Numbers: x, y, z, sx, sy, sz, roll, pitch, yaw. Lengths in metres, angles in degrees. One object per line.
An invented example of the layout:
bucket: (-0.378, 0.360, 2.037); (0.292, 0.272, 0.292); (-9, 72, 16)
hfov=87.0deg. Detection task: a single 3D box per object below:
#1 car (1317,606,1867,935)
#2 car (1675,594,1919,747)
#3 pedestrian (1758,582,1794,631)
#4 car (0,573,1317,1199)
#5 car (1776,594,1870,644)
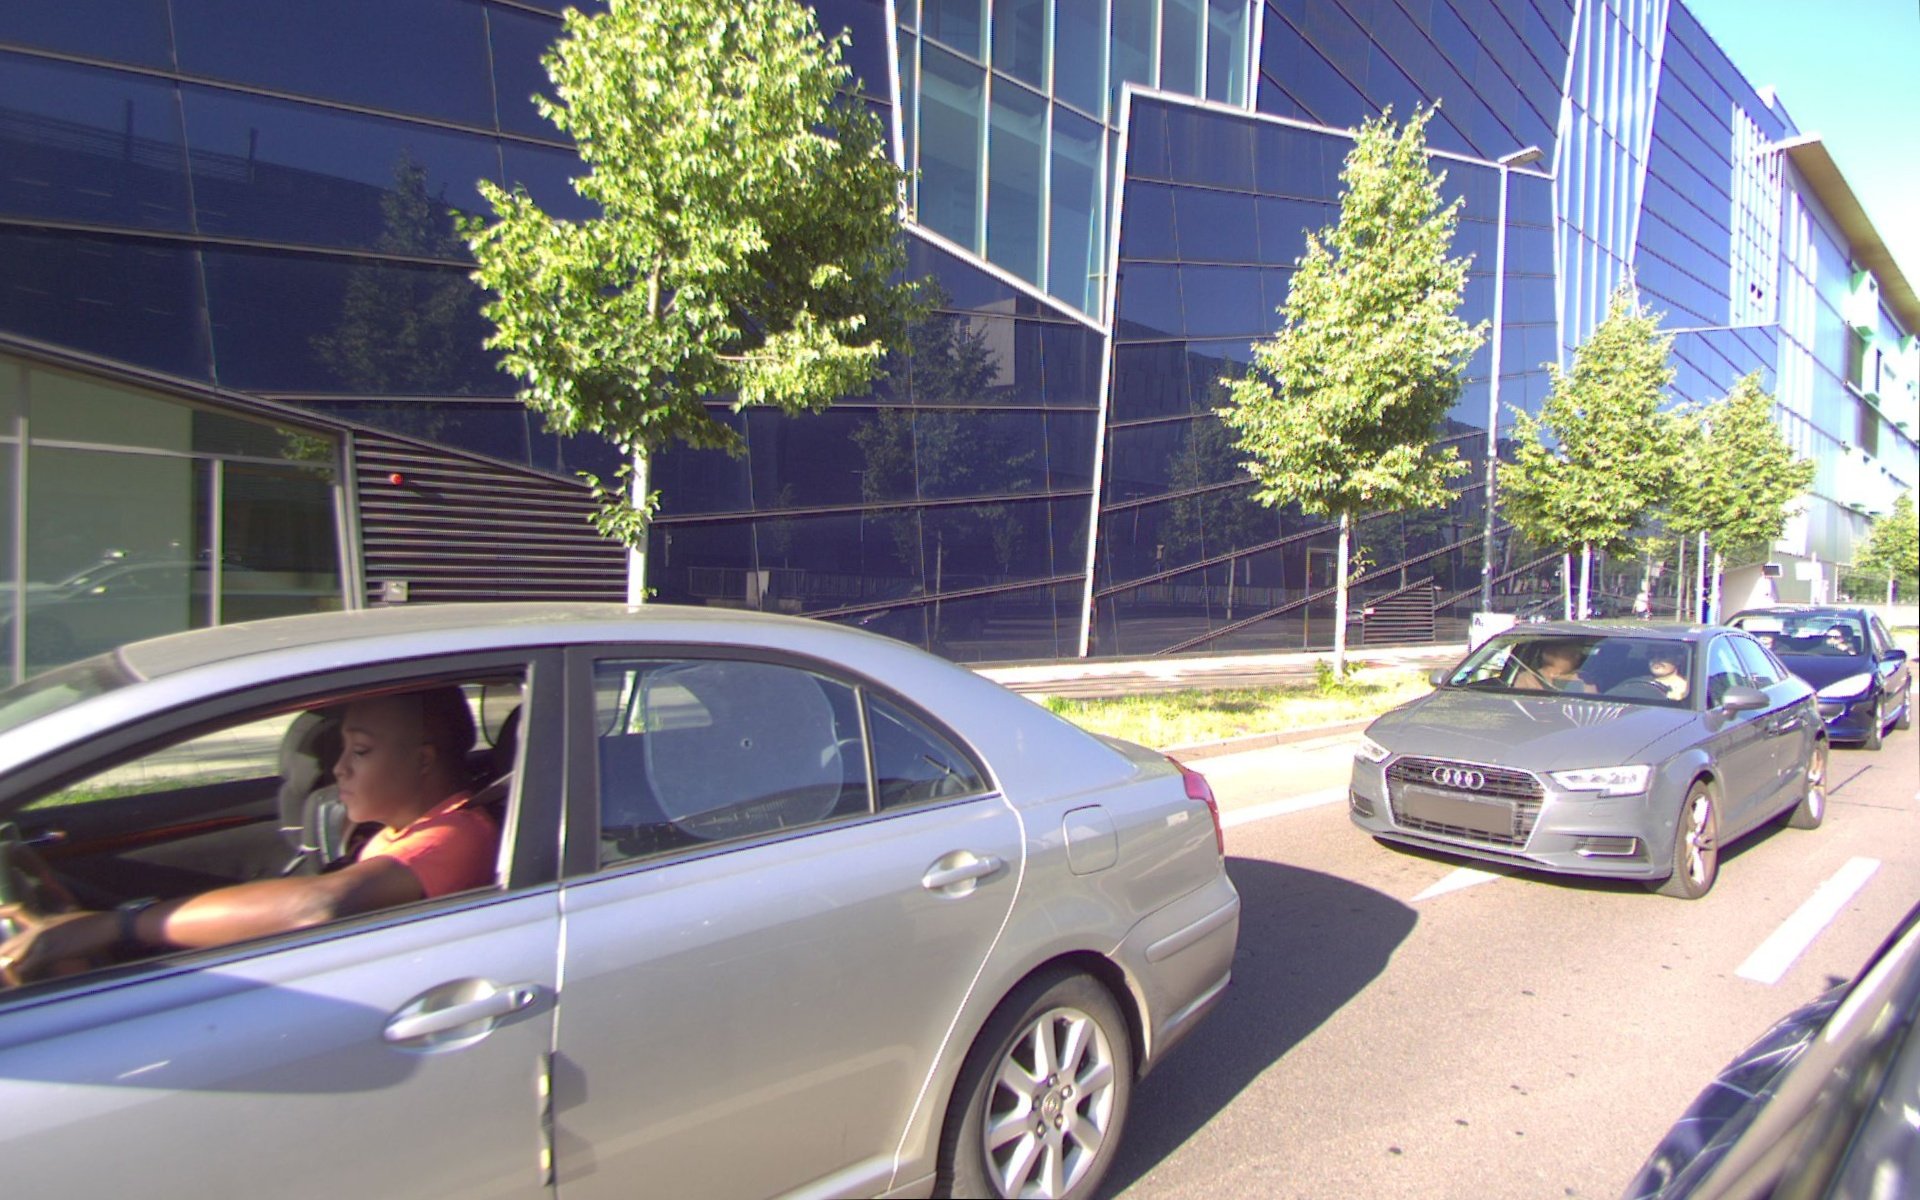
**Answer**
car: (4.266, 0.781, 6.560); (4.187, 1.409, 1.750); (0, 1, -39)
car: (10.014, 0.696, 11.902); (3.902, 1.497, 1.752); (0, 0, -41)
pedestrian: (31.886, 0.244, 39.548); (0.889, 1.846, 0.829); (1, 4, -41)
car: (-1.290, 0.710, 2.131); (4.545, 1.500, 1.750); (0, 2, -39)
car: (29.813, 0.610, 34.934); (4.633, 1.516, 1.739); (0, 3, -41)
